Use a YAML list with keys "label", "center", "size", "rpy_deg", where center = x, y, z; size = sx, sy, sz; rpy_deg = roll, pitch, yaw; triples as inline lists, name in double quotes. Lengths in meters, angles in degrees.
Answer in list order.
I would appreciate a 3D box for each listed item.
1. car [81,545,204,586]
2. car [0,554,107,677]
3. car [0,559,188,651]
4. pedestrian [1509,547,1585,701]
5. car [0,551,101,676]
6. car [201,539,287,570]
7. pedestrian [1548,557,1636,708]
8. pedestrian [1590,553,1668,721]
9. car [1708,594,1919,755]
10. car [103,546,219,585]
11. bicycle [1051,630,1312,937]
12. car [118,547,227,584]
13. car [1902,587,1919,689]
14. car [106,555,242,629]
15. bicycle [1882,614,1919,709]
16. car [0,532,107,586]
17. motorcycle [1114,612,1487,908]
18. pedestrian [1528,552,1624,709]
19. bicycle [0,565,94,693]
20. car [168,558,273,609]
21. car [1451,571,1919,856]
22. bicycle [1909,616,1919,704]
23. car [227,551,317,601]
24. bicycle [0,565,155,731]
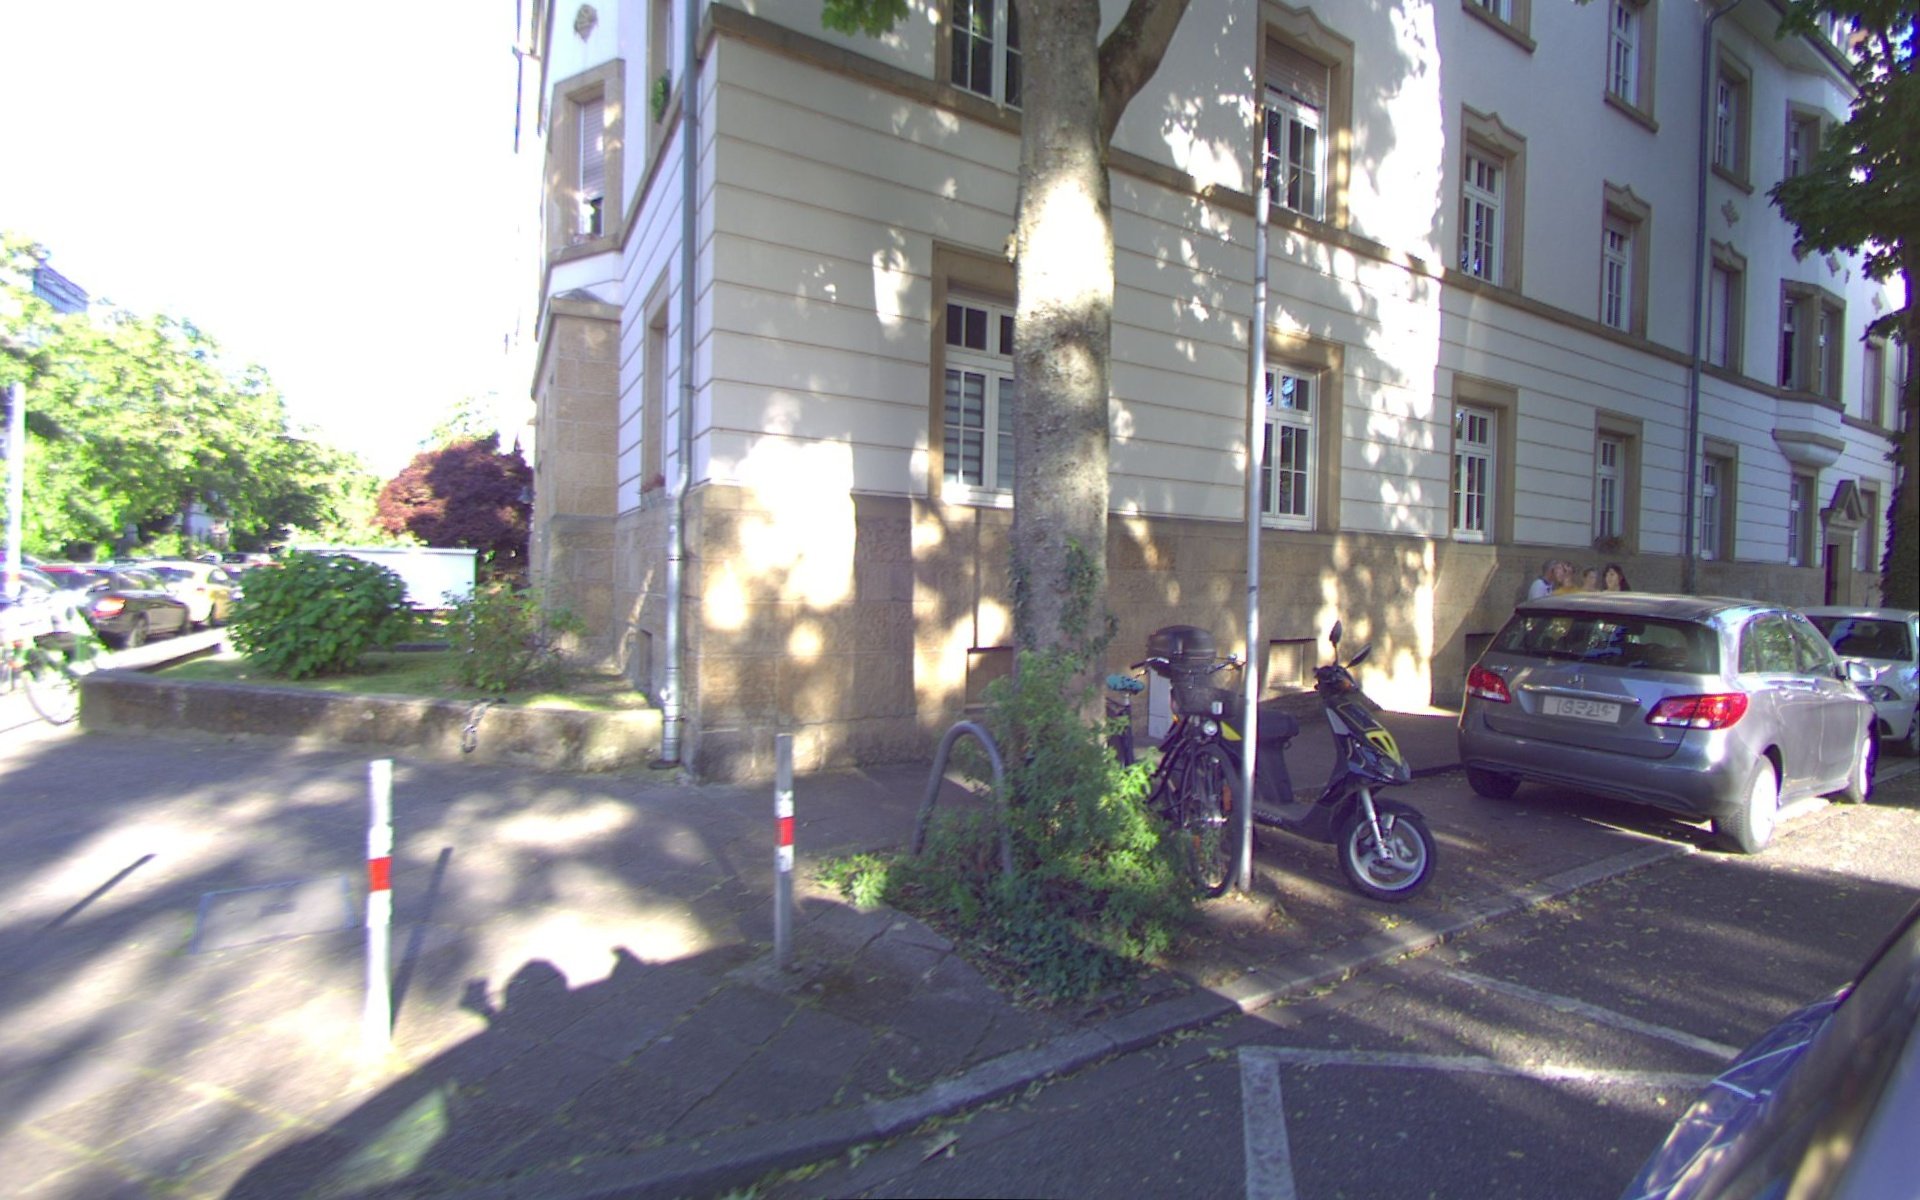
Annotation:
- label: "car"
  center: [-35.427, -1.496, 43.984]
  size: [3.919, 1.683, 1.730]
  rpy_deg: [0, 2, -29]
- label: "car"
  center: [-13.080, 0.113, 13.436]
  size: [1.753, 1.457, 4.008]
  rpy_deg: [0, 2, -26]
- label: "car"
  center: [-15.347, -0.003, 18.137]
  size: [1.753, 1.440, 4.226]
  rpy_deg: [0, 2, -28]
- label: "pedestrian"
  center: [7.325, 0.285, 12.635]
  size: [0.693, 1.868, 0.529]
  rpy_deg: [0, 1, -33]
- label: "car"
  center: [-12.923, 0.100, 13.349]
  size: [1.692, 1.482, 3.891]
  rpy_deg: [0, 2, -29]
- label: "car"
  center: [-41.642, -2.632, 58.949]
  size: [3.920, 1.683, 1.729]
  rpy_deg: [0, 2, -30]
- label: "pedestrian"
  center: [8.164, 0.394, 13.066]
  size: [0.826, 1.868, 0.706]
  rpy_deg: [0, 1, -40]
- label: "pedestrian"
  center: [7.185, 0.377, 10.878]
  size: [0.507, 1.740, 0.520]
  rpy_deg: [0, 1, -36]
- label: "car"
  center: [9.883, 0.686, 11.159]
  size: [3.787, 1.424, 1.727]
  rpy_deg: [0, 2, -40]
- label: "car"
  center: [-36.402, -1.571, 46.251]
  size: [3.919, 1.683, 1.730]
  rpy_deg: [0, 2, -29]
- label: "bicycle"
  center: [1.048, 0.819, 5.266]
  size: [0.424, 1.176, 1.803]
  rpy_deg: [1, 3, -18]
- label: "car"
  center: [-37.942, -1.644, 48.867]
  size: [3.919, 1.683, 1.730]
  rpy_deg: [0, 2, -29]
- label: "car"
  center: [16.543, 0.602, 15.948]
  size: [3.923, 1.551, 1.641]
  rpy_deg: [0, 1, -34]
- label: "car"
  center: [-17.819, -0.245, 23.131]
  size: [1.753, 1.526, 4.226]
  rpy_deg: [0, 2, -28]
- label: "bicycle"
  center: [12.646, 0.809, 12.789]
  size: [0.330, 1.210, 1.415]
  rpy_deg: [0, 1, -36]
- label: "car"
  center: [-29.998, -1.272, 32.131]
  size: [4.098, 1.668, 2.003]
  rpy_deg: [0, 1, -29]
- label: "motorcycle"
  center: [1.806, 0.767, 5.668]
  size: [0.666, 1.227, 1.856]
  rpy_deg: [2, 3, -37]
- label: "pedestrian"
  center: [6.961, 0.320, 11.431]
  size: [0.803, 1.705, 0.625]
  rpy_deg: [0, 1, -35]
- label: "bicycle"
  center: [-10.275, 0.270, 11.176]
  size: [0.463, 1.306, 1.875]
  rpy_deg: [0, 2, -21]
- label: "car"
  center: [-20.302, -0.497, 27.948]
  size: [1.753, 1.315, 4.226]
  rpy_deg: [0, 2, -28]
- label: "car"
  center: [5.604, 0.632, 7.591]
  size: [4.056, 1.559, 1.686]
  rpy_deg: [0, 3, -36]
- label: "bicycle"
  center: [13.766, 0.850, 13.602]
  size: [0.330, 1.210, 1.415]
  rpy_deg: [0, 1, -36]
- label: "car"
  center: [-22.396, -0.811, 33.090]
  size: [1.752, 1.526, 4.228]
  rpy_deg: [0, 2, -25]
- label: "bicycle"
  center: [-7.894, 0.356, 8.925]
  size: [0.625, 1.306, 1.875]
  rpy_deg: [0, 2, -18]
